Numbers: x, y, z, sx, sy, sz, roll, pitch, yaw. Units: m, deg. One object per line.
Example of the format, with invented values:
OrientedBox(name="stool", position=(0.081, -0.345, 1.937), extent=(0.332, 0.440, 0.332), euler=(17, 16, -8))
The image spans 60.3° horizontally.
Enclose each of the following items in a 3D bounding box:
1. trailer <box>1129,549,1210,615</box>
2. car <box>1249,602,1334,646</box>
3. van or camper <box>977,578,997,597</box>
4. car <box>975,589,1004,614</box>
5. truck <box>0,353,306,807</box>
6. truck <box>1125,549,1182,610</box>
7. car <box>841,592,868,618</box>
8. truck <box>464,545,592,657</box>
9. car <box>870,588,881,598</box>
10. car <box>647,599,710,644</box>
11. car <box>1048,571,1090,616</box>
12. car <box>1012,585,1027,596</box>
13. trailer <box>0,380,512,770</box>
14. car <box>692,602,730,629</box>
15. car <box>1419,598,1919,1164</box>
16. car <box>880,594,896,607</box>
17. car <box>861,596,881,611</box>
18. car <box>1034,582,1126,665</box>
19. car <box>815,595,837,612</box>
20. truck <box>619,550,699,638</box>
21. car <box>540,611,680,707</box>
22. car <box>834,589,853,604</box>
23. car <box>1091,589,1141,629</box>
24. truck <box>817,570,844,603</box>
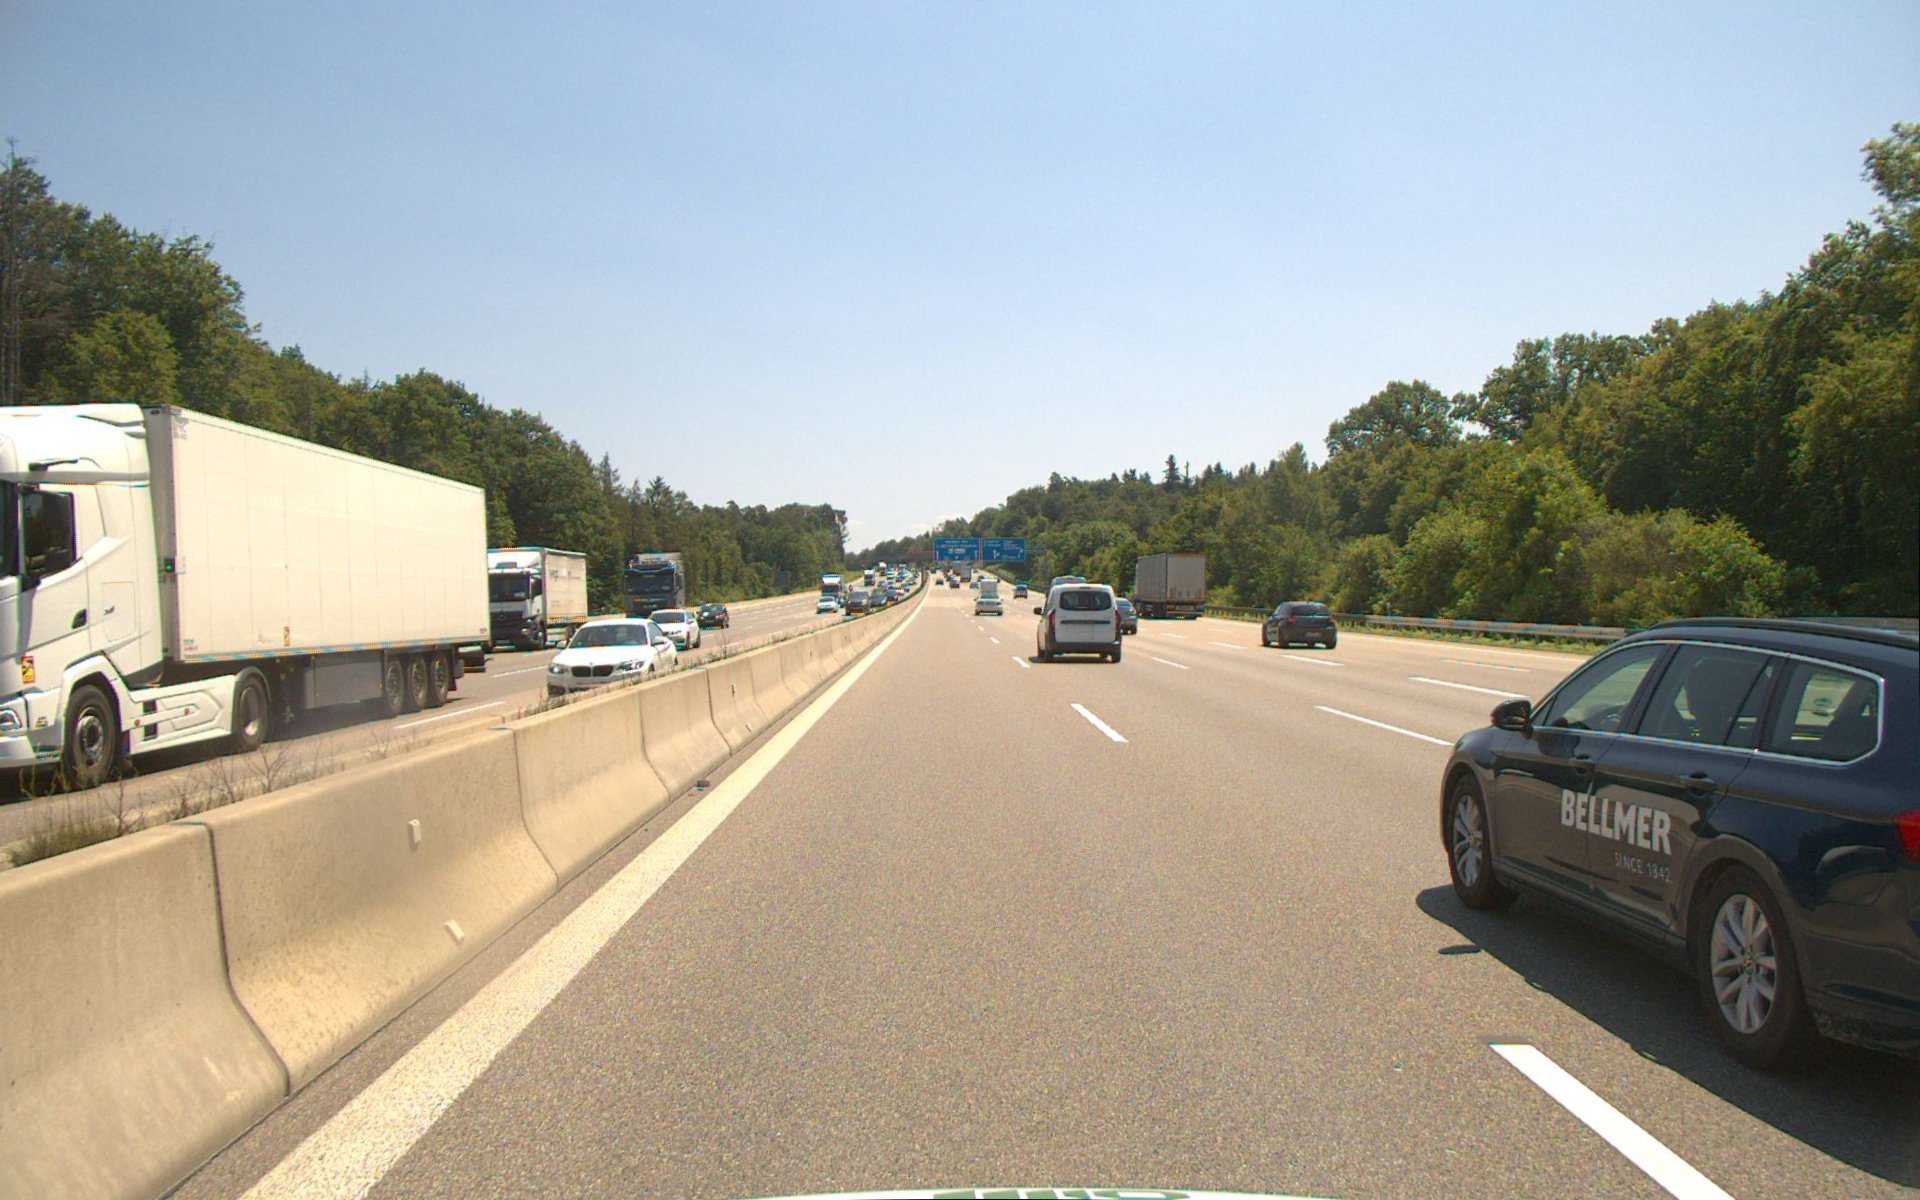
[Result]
OrientedBox(name="trailer", position=(13.628, -1.232, 108.814), extent=(3.221, 3.999, 13.888), euler=(1, 1, -1))
OrientedBox(name="car", position=(10.301, 0.723, 51.630), extent=(1.637, 1.296, 4.288), euler=(1, 0, -2))
OrientedBox(name="van or camper", position=(3.877, -1.812, 238.528), extent=(2.591, 2.583, 6.501), euler=(-1, 0, -1))
OrientedBox(name="car", position=(1.984, 0.109, 113.051), extent=(1.805, 1.657, 4.552), euler=(-2, 0, -1))
OrientedBox(name="truck", position=(-10.305, -0.148, 18.801), extent=(2.985, 4.209, 6.947), euler=(-2, 0, -1))
OrientedBox(name="truck", position=(13.452, -1.450, 115.533), extent=(3.188, 4.178, 5.987), euler=(1, 1, -1))
OrientedBox(name="car", position=(-8.454, 0.352, 132.971), extent=(1.859, 1.987, 5.655), euler=(-2, 0, -1))
OrientedBox(name="truck", position=(-18.029, 0.023, 69.778), extent=(2.778, 4.271, 10.592), euler=(-2, 0, -2))
OrientedBox(name="car", position=(-13.254, -1.114, 259.241), extent=(1.668, 1.452, 4.611), euler=(-2, 0, -2))
OrientedBox(name="car", position=(-10.152, 0.740, 59.888), extent=(1.688, 1.533, 4.459), euler=(-1, 0, -3))
OrientedBox(name="car", position=(6.604, -0.441, 101.069), extent=(2.100, 2.698, 5.709), euler=(0, 1, -1))
OrientedBox(name="car", position=(8.119, -1.304, 224.278), extent=(1.798, 1.361, 3.642), euler=(-2, 0, -1))
OrientedBox(name="trailer", position=(-10.398, -0.299, 25.830), extent=(2.962, 4.298, 14.464), euler=(-2, 0, -1))
OrientedBox(name="car", position=(-14.965, 0.913, 99.474), extent=(1.718, 1.512, 3.813), euler=(-3, 0, -2))
OrientedBox(name="car", position=(3.404, 0.750, 6.712), extent=(1.694, 1.472, 4.961), euler=(-1, 0, 0))
OrientedBox(name="car", position=(-8.924, 0.080, 205.539), extent=(1.874, 1.490, 4.362), euler=(-1, 0, -1))
OrientedBox(name="car", position=(-9.037, 0.379, 167.746), extent=(1.874, 1.490, 4.586), euler=(-1, 0, -1))
OrientedBox(name="car", position=(2.835, 0.525, 39.947), extent=(1.822, 1.857, 4.611), euler=(-2, 0, -1))
OrientedBox(name="car", position=(-12.114, 0.295, 149.845), extent=(1.725, 1.489, 4.838), euler=(-1, 0, -1))
OrientedBox(name="truck", position=(-14.243, -0.291, 78.772), extent=(2.525, 3.908, 7.016), euler=(-2, 0, -1))
OrientedBox(name="car", position=(-6.075, 0.984, 29.131), extent=(1.712, 1.483, 4.154), euler=(-1, 0, -3))
OrientedBox(name="car", position=(-12.804, -0.379, 181.851), extent=(1.874, 1.490, 4.586), euler=(-1, 0, -1))
OrientedBox(name="car", position=(6.244, 0.387, 66.514), extent=(1.473, 1.527, 3.648), euler=(-2, -1, -2))
OrientedBox(name="truck", position=(-16.565, -1.708, 211.673), extent=(2.800, 4.083, 9.466), euler=(-1, 0, -1))
